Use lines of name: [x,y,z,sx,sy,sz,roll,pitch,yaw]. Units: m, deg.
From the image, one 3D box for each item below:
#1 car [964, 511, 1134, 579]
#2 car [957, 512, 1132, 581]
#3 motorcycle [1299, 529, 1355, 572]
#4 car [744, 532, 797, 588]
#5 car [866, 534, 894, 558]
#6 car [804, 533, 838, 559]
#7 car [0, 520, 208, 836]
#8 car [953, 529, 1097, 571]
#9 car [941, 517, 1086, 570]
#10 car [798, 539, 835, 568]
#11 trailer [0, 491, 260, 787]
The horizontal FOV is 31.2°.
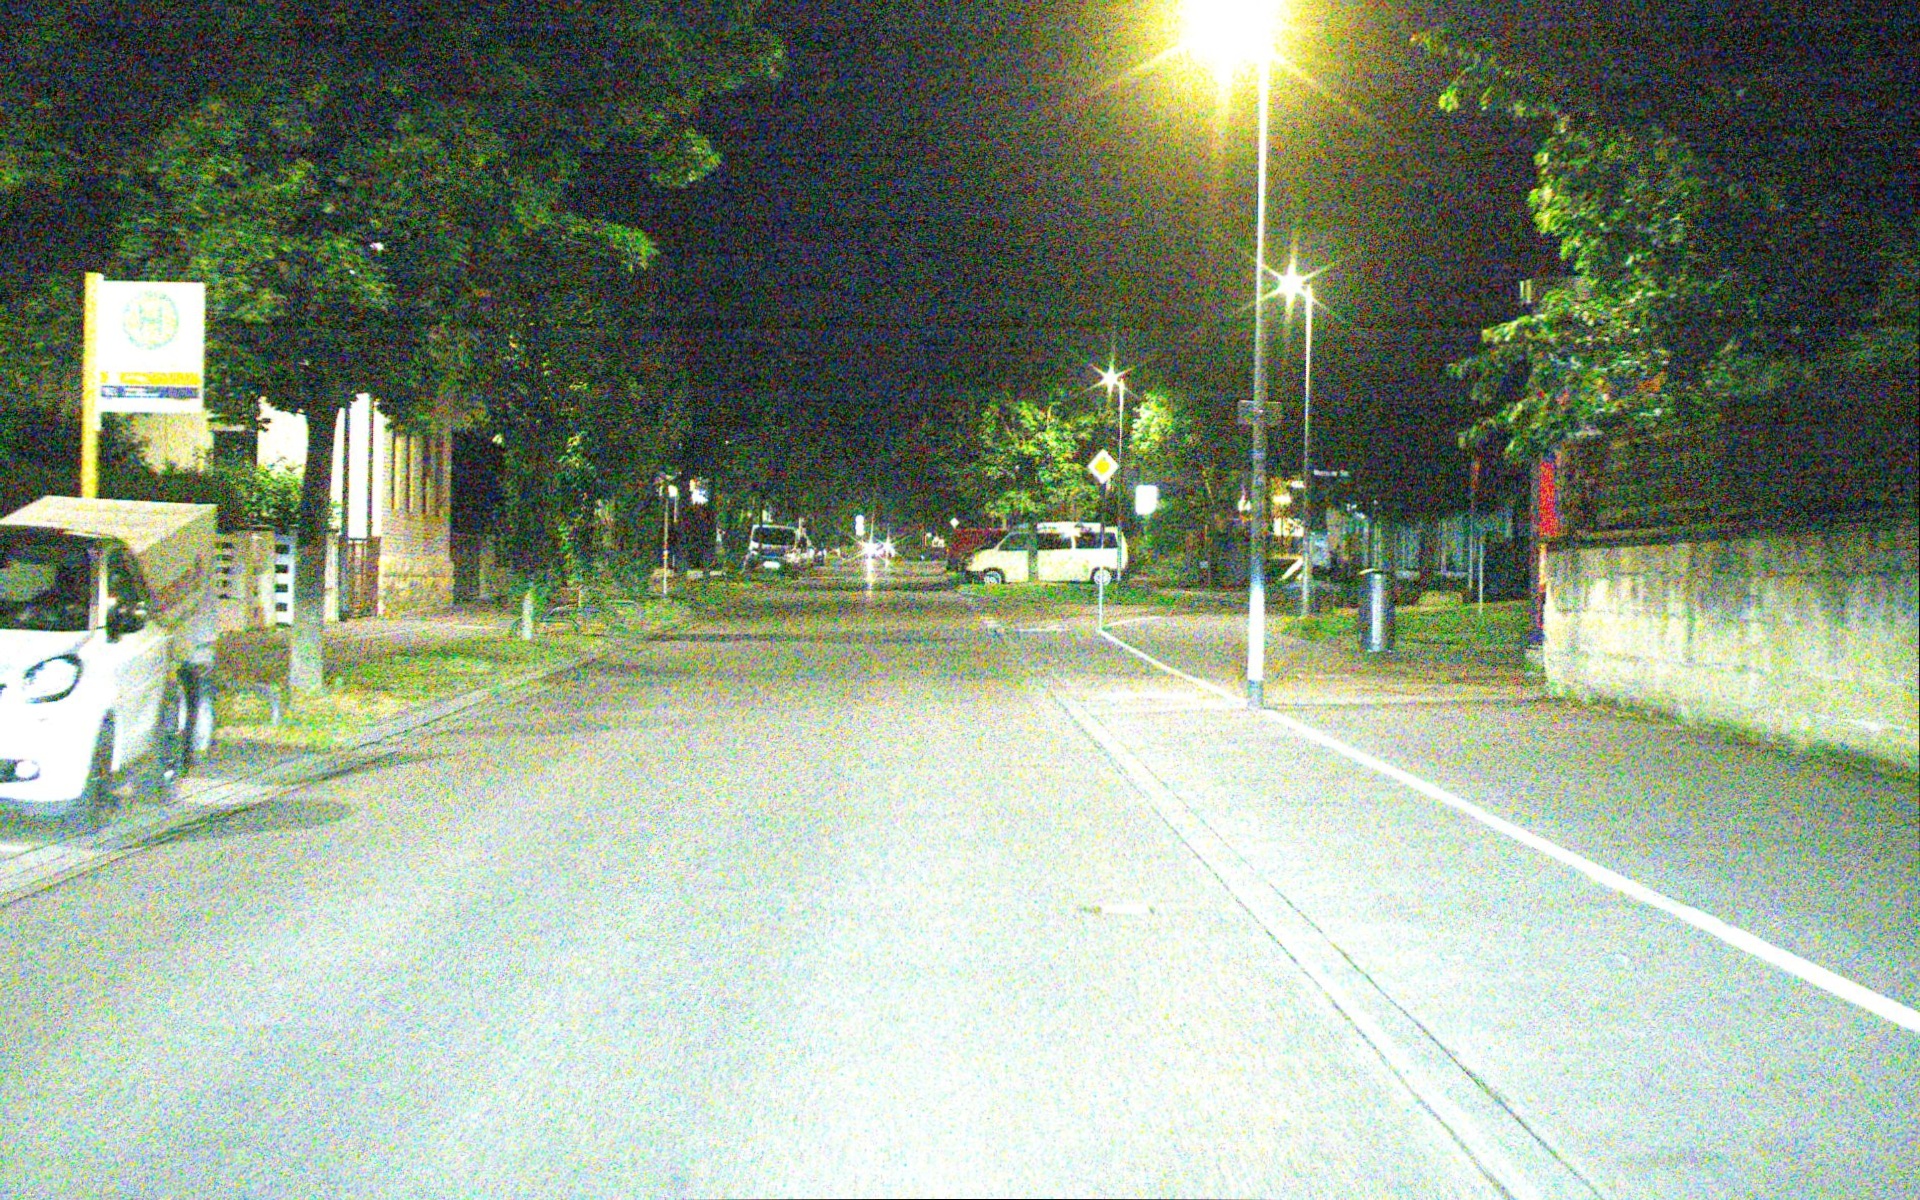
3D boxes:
car: [2.759,-1.732,107.845,5.182,2.007,2.102,-1,1,-2]
car: [2.539,-1.636,104.780,5.182,2.007,2.102,-1,1,-2]
motorcycle: [11.836,-1.609,110.823,1.071,1.322,2.704,1,2,23]
car: [-7.072,-1.504,128.428,1.824,1.980,4.466,2,1,-2]
car: [-5.628,-3.838,242.133,1.927,1.643,3.822,-1,1,-2]
car: [-7.161,-2.777,177.321,1.683,1.326,3.600,0,1,-2]
car: [-5.184,0.341,18.470,1.671,1.517,2.979,3,1,-2]
car: [2.367,-1.860,126.833,5.182,1.464,2.102,-1,1,-2]
car: [2.026,-2.134,129.545,5.184,1.880,2.101,-1,1,9]
car: [-6.696,-2.179,160.528,1.683,1.326,3.600,0,1,-2]
trailer: [-5.576,0.178,21.689,1.448,1.682,3.426,3,1,2]
